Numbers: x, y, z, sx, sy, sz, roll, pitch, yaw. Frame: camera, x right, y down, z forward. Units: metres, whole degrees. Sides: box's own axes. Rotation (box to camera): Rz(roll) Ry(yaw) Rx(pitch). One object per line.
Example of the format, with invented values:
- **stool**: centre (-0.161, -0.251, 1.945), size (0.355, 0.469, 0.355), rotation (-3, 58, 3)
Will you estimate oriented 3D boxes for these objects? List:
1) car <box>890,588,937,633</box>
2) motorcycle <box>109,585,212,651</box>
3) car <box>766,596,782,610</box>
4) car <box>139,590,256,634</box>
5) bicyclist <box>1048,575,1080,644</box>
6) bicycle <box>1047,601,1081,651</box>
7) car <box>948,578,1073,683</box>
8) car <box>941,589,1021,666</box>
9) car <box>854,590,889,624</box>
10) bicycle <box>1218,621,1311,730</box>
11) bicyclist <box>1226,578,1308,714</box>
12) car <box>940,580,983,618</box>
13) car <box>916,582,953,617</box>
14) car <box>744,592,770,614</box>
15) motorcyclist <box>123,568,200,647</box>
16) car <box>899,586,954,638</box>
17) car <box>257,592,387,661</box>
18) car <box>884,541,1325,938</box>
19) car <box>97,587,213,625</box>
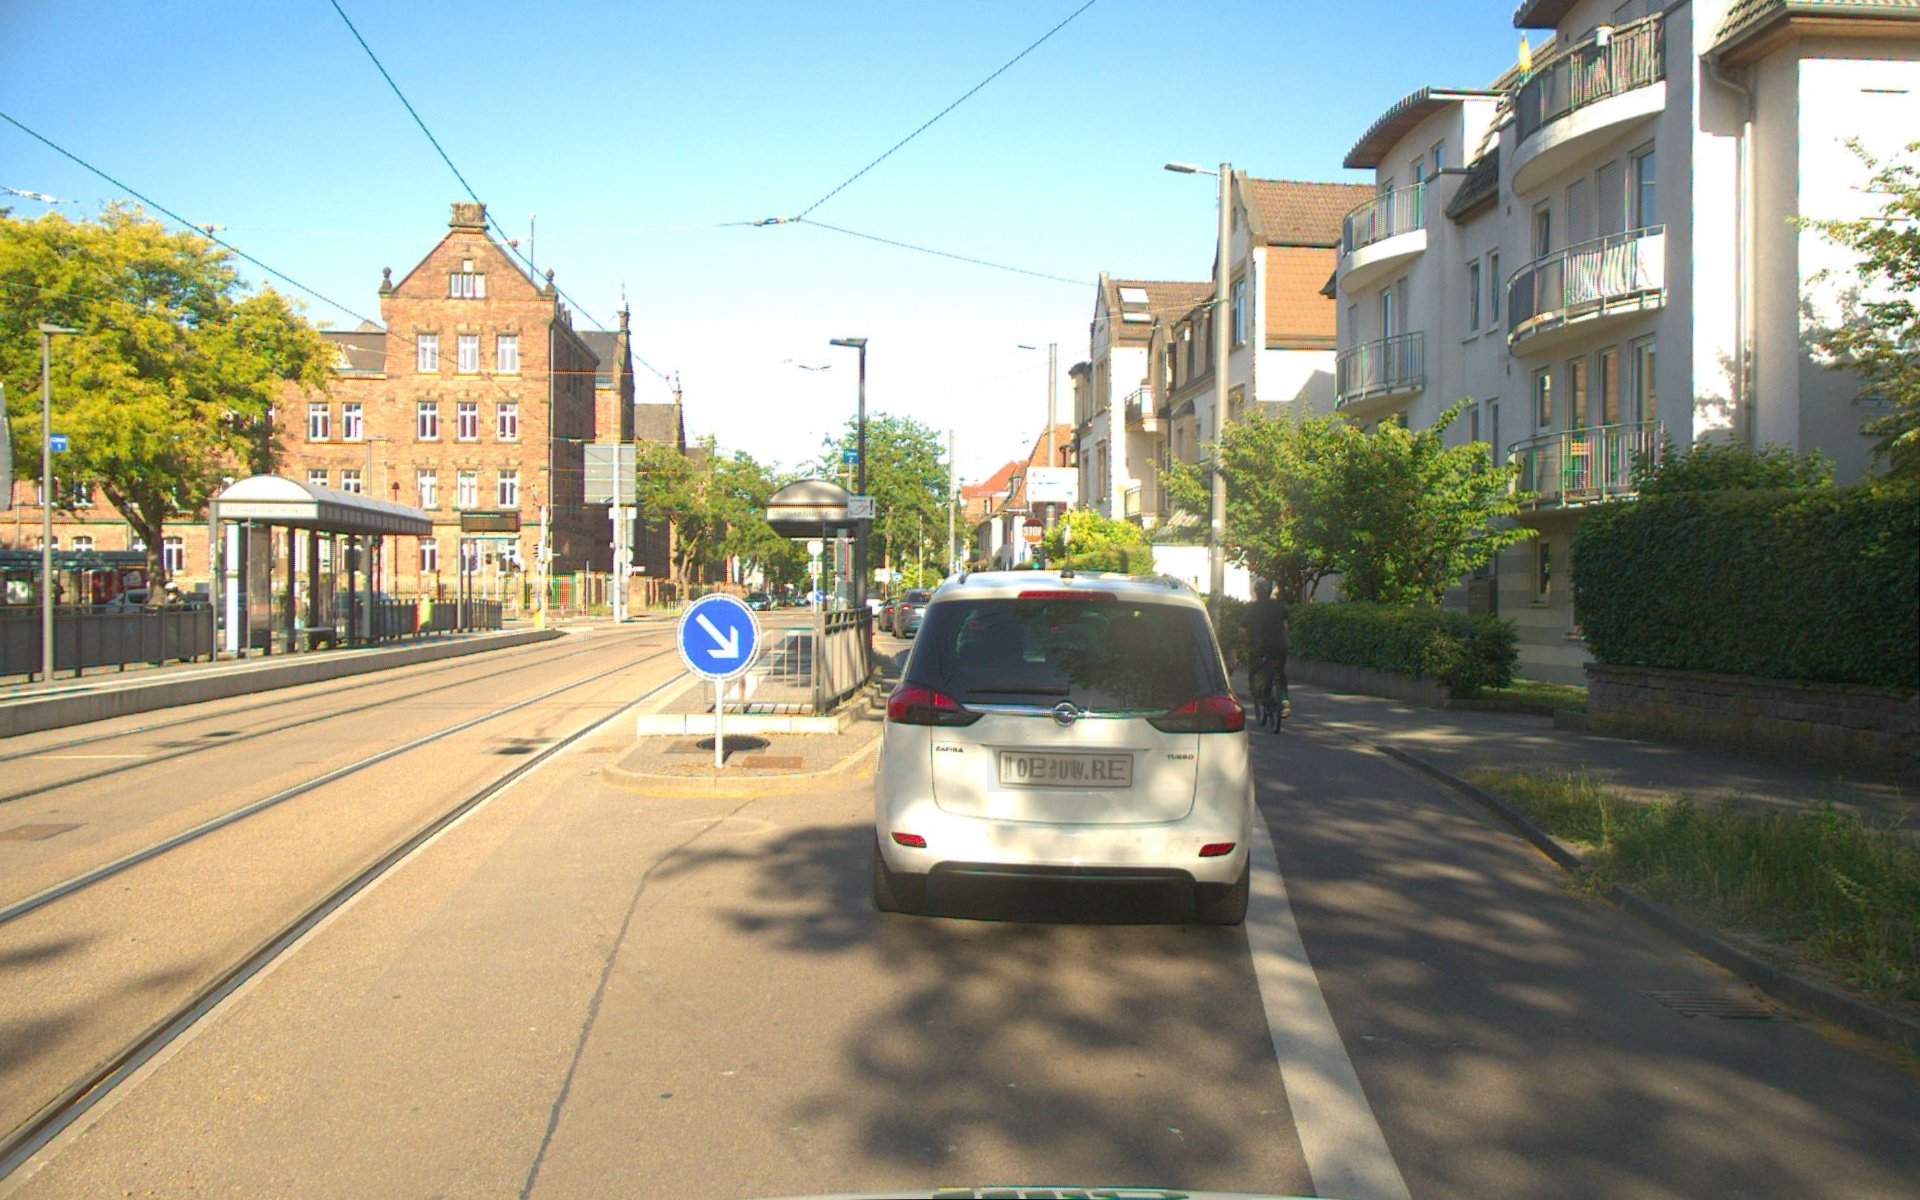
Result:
- **car**: centre (-1.802, 0.414, 64.323), size (1.740, 1.660, 3.879), rotation (1, 0, -2)
- **motorcycle**: centre (-16.085, 0.347, 33.353), size (1.109, 1.265, 2.569), rotation (1, 0, -8)
- **car**: centre (-23.294, 0.397, 207.131), size (1.869, 1.706, 3.996), rotation (1, 0, -5)
- **car**: centre (-30.176, 0.469, 65.550), size (3.781, 1.689, 1.750), rotation (1, 0, -3)
- **bicyclist**: centre (2.525, 0.231, 40.169), size (0.672, 1.663, 1.015), rotation (1, 0, -2)
- **bicycle**: centre (2.521, 0.613, 40.203), size (0.672, 1.177, 1.619), rotation (1, 0, -2)
- **car**: centre (0.797, 0.490, 28.452), size (1.741, 1.660, 3.877), rotation (1, 0, -4)
- **car**: centre (0.436, 0.613, 38.341), size (1.740, 1.660, 3.880), rotation (1, 0, -1)
- **car**: centre (-4.614, 0.369, 86.697), size (1.740, 1.722, 3.878), rotation (1, 0, -2)
- **bicycle**: centre (3.549, 0.849, 19.423), size (0.812, 1.175, 2.095), rotation (1, 0, 3)
- **bicyclist**: centre (3.561, 0.521, 19.255), size (0.804, 1.528, 0.934), rotation (1, 0, 3)
- **car**: centre (0.033, -0.036, 73.736), size (1.740, 1.660, 3.878), rotation (1, 0, -2)
- **car**: centre (-1.294, -0.024, 82.794), size (1.740, 1.660, 3.878), rotation (1, 0, -2)
- **car**: centre (-16.081, 0.221, 131.157), size (1.869, 1.706, 4.354), rotation (1, 0, -4)
- **motorcyclist**: centre (-16.084, 0.147, 33.358), size (1.103, 1.552, 1.053), rotation (1, 0, -8)
- **car**: centre (-1.141, 0.391, 55.090), size (1.740, 1.660, 3.879), rotation (1, 0, -2)
- **car**: centre (-16.343, 0.724, 42.577), size (1.818, 1.427, 3.980), rotation (-6, -3, -2)
- **car**: centre (0.533, 0.603, 8.971), size (1.798, 1.670, 3.915), rotation (1, 0, -4)
- **car**: centre (-34.356, 0.260, 70.642), size (3.983, 1.548, 1.876), rotation (1, 0, -3)
